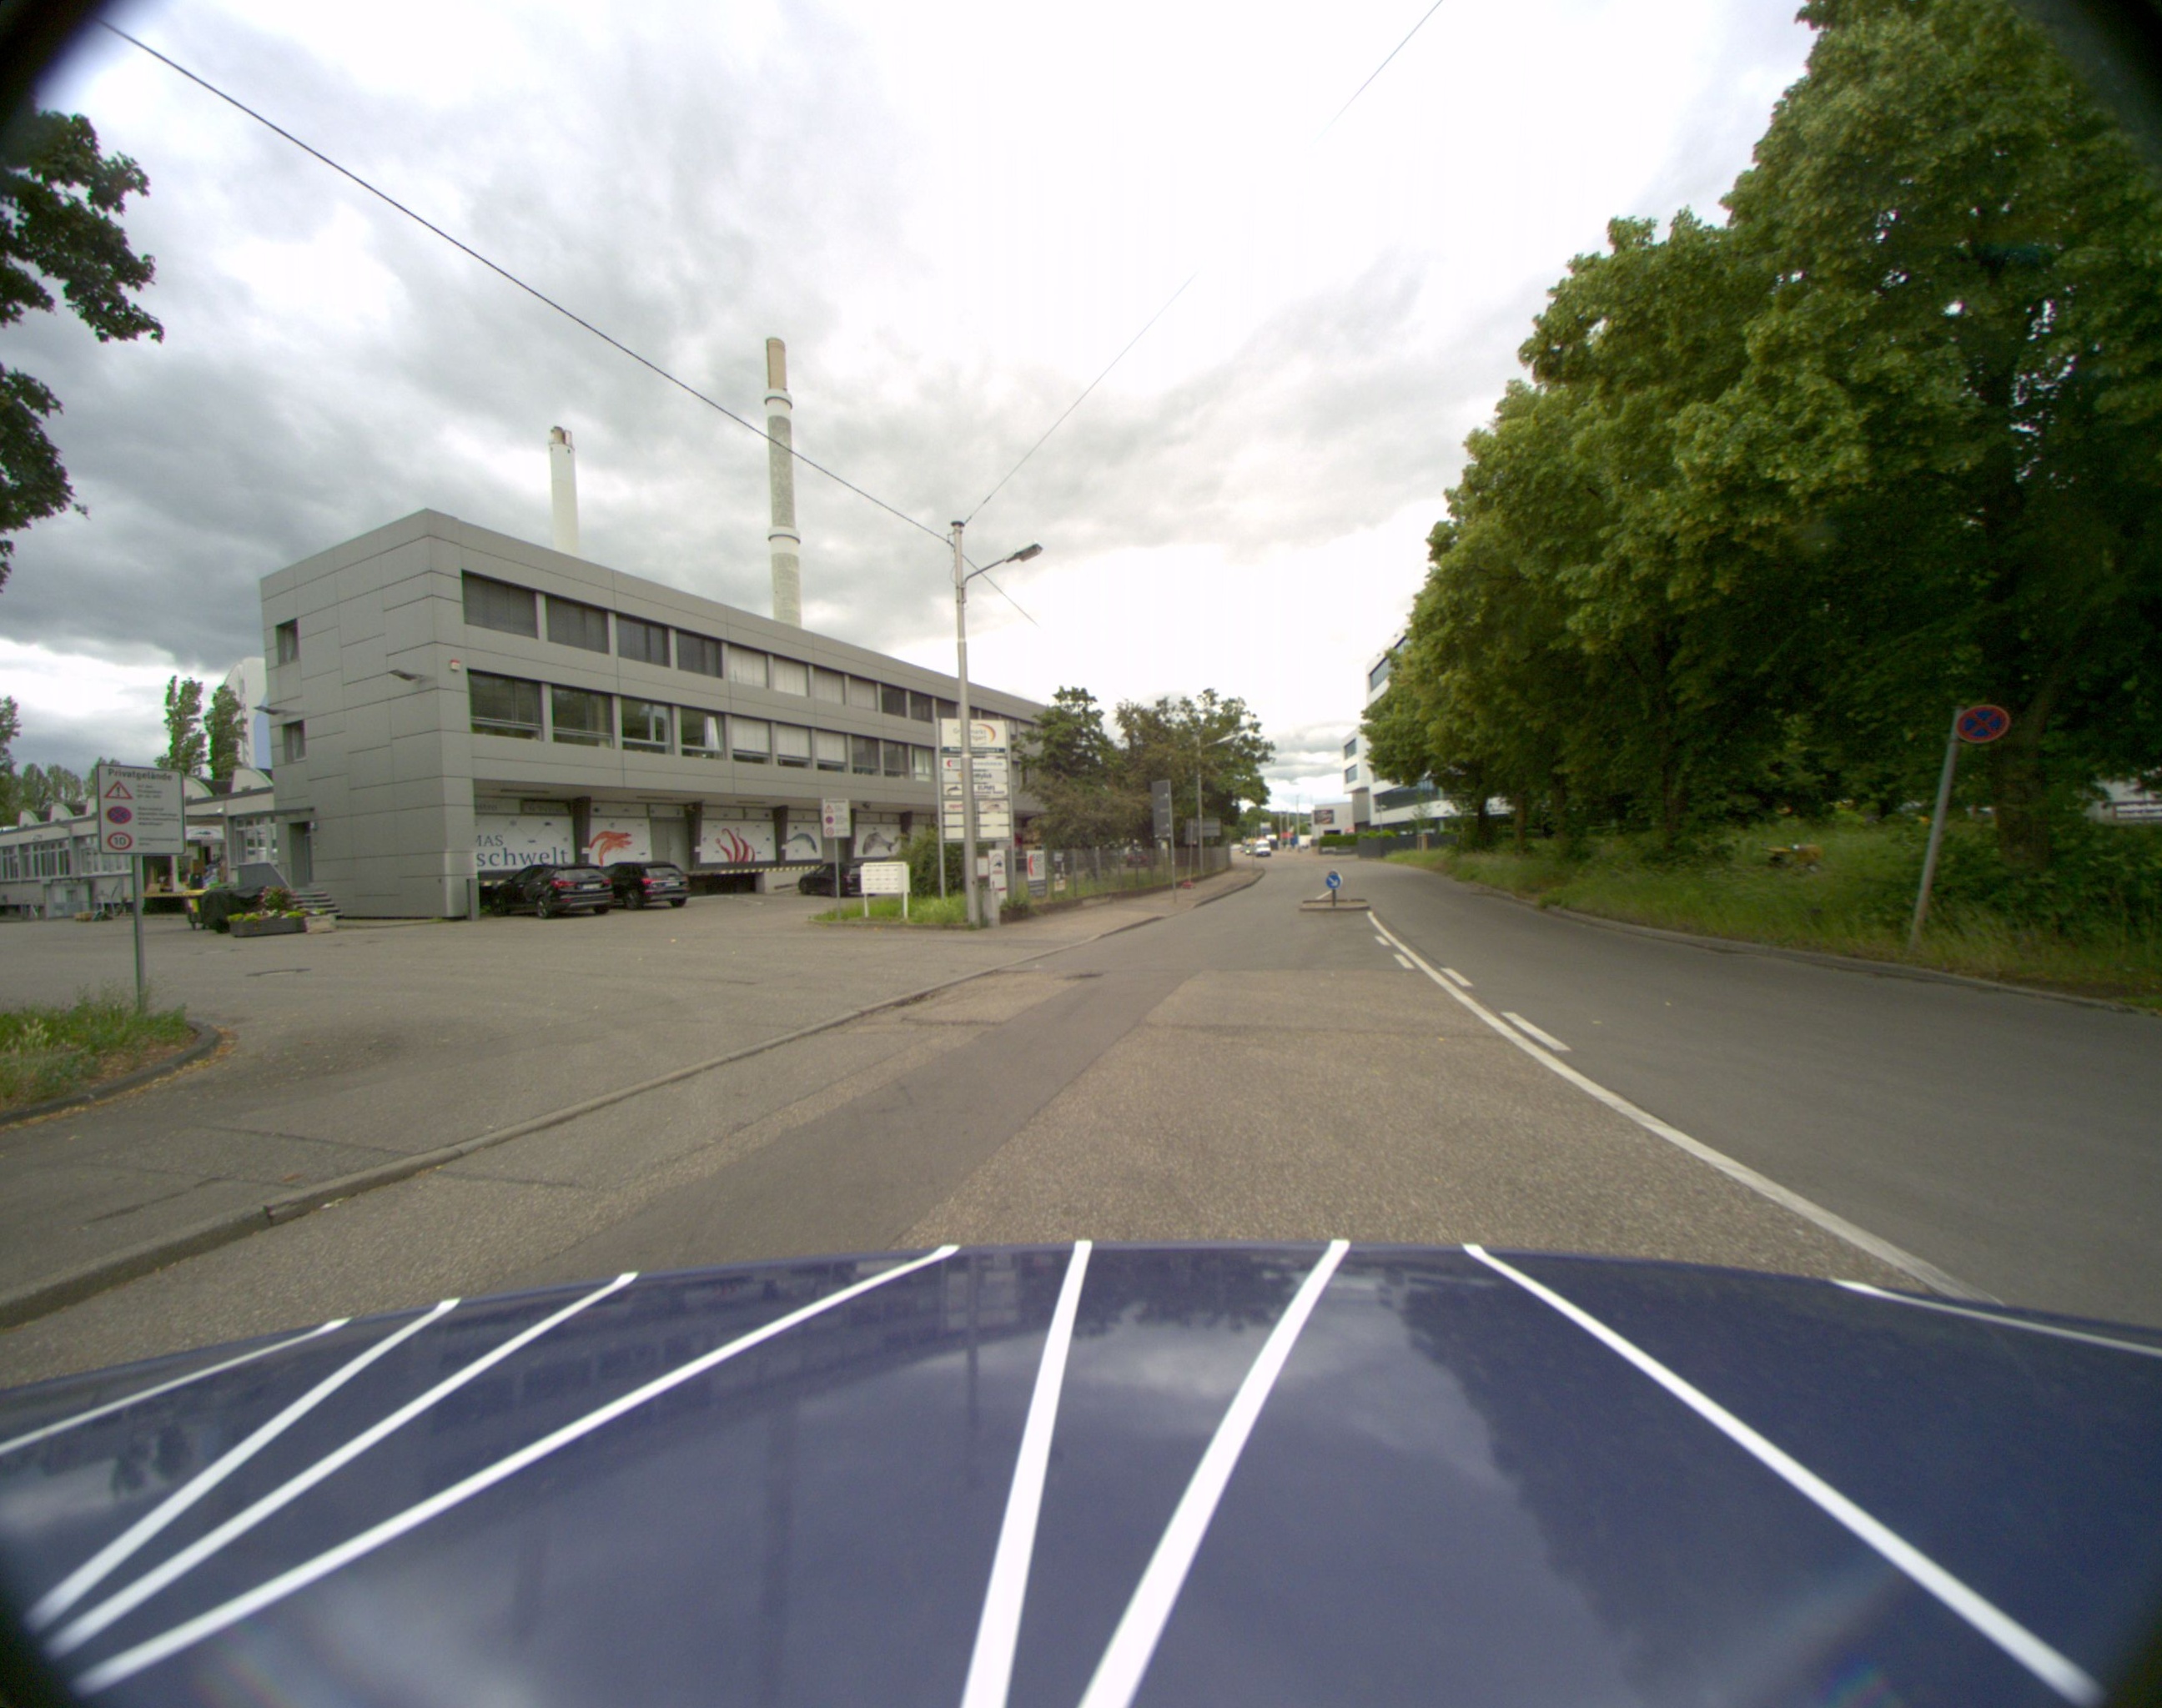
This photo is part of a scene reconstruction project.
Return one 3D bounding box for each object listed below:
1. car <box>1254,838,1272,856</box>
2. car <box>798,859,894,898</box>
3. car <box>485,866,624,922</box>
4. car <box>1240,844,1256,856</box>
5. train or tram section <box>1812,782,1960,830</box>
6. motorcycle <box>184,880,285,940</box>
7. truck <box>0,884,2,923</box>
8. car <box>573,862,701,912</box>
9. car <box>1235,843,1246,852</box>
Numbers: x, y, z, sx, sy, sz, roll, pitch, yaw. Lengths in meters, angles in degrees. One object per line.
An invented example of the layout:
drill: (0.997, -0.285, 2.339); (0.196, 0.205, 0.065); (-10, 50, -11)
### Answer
car: (27.086, -1.085, 113.271); (2.385, 2.444, 6.105); (-3, 1, 13)
car: (-10.430, 1.006, 33.489); (2.054, 1.437, 4.814); (-3, 3, -44)
car: (-16.983, 1.213, 24.481); (4.453, 1.609, 1.842); (0, 1, 29)
car: (27.712, -0.703, 126.196); (2.385, 1.859, 5.211); (-3, 1, 13)
train or tram section: (72.518, -4.092, 69.311); (3.269, 3.645, 19.206); (-2, 1, 28)
motorcycle: (-26.508, 1.699, 23.893); (1.198, 1.645, 2.888); (-2, 0, -29)
truck: (-66.403, 2.010, 43.623); (15.810, 4.002, 2.877); (-2, 1, 27)
car: (-15.869, 1.138, 27.122); (4.411, 1.609, 1.842); (0, 1, 28)
car: (38.210, -1.538, 181.616); (2.385, 1.859, 5.211); (-3, 1, 13)
